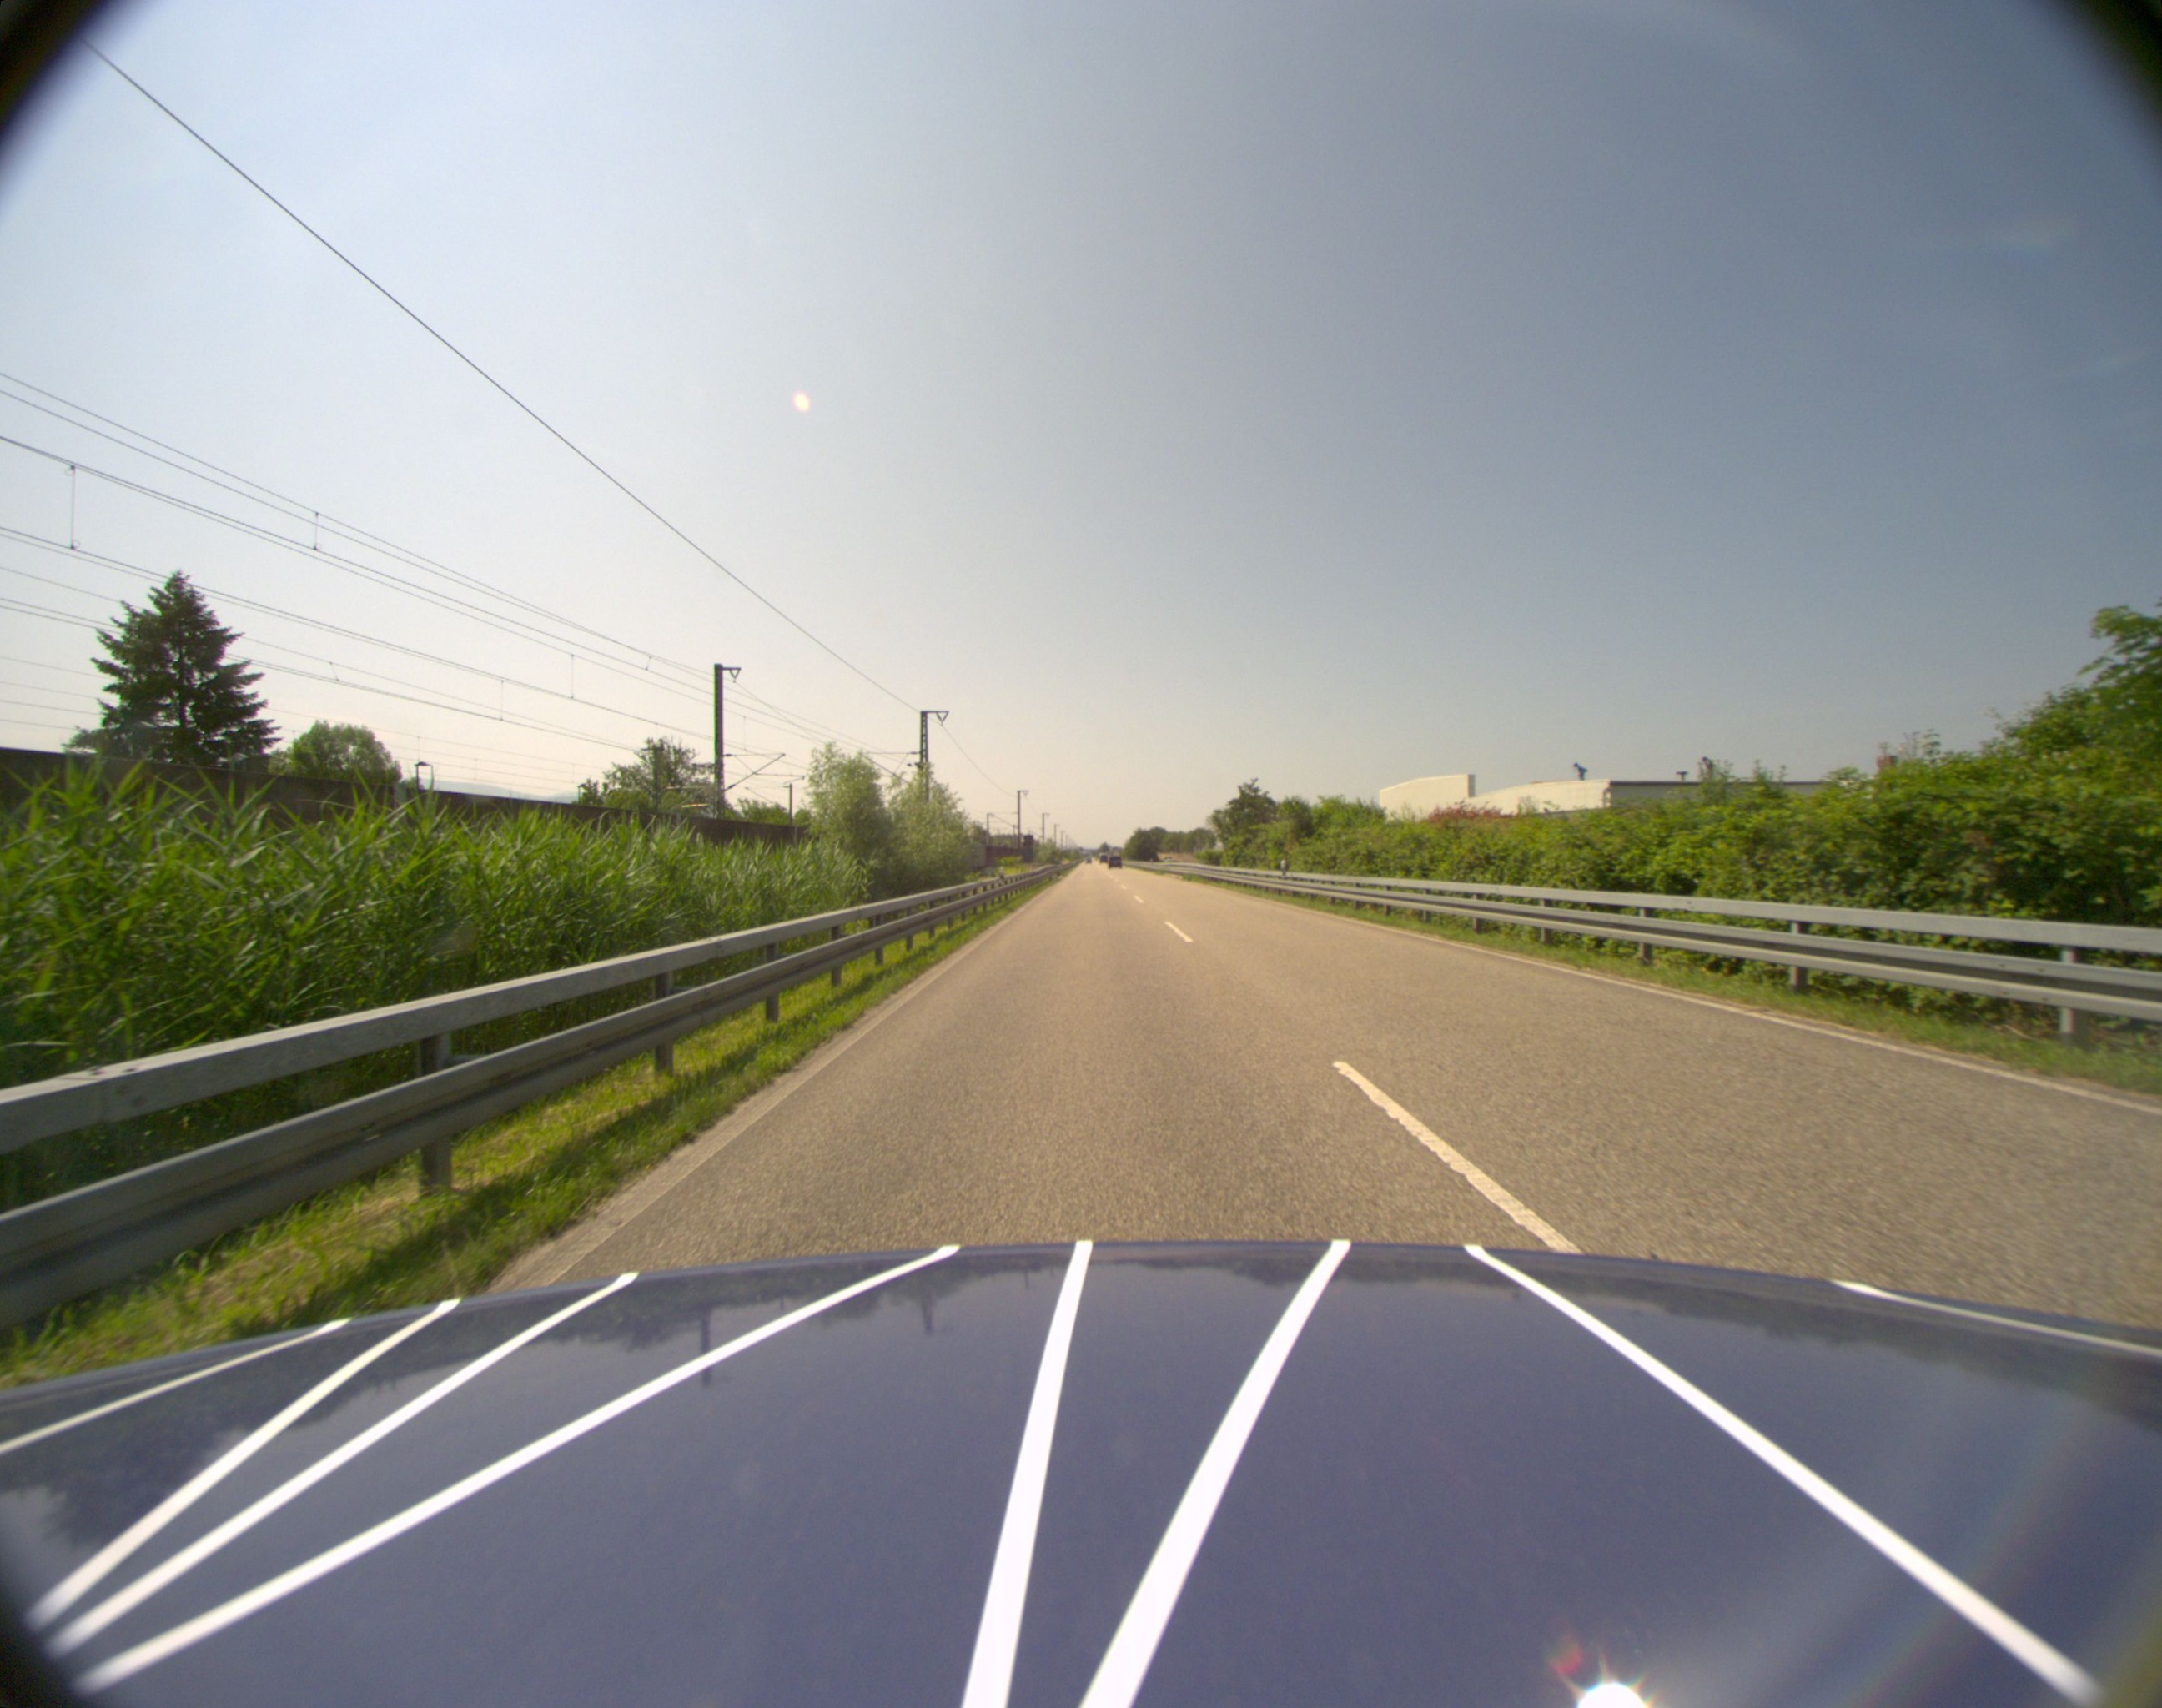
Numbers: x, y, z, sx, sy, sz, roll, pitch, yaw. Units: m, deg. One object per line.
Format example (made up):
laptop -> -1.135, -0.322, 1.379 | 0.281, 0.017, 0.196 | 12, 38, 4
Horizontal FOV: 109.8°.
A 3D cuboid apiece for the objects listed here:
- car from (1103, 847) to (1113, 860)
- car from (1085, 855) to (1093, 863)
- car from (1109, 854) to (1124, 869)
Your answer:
car -> 6.653, -0.092, 188.540 | 2.084, 2.945, 6.729 | -2, 0, 0
car -> 2.161, 1.416, 206.198 | 1.999, 2.002, 3.999 | -2, 0, -1
car -> 5.031, 1.063, 107.538 | 1.898, 2.002, 5.369 | -2, 0, 0
